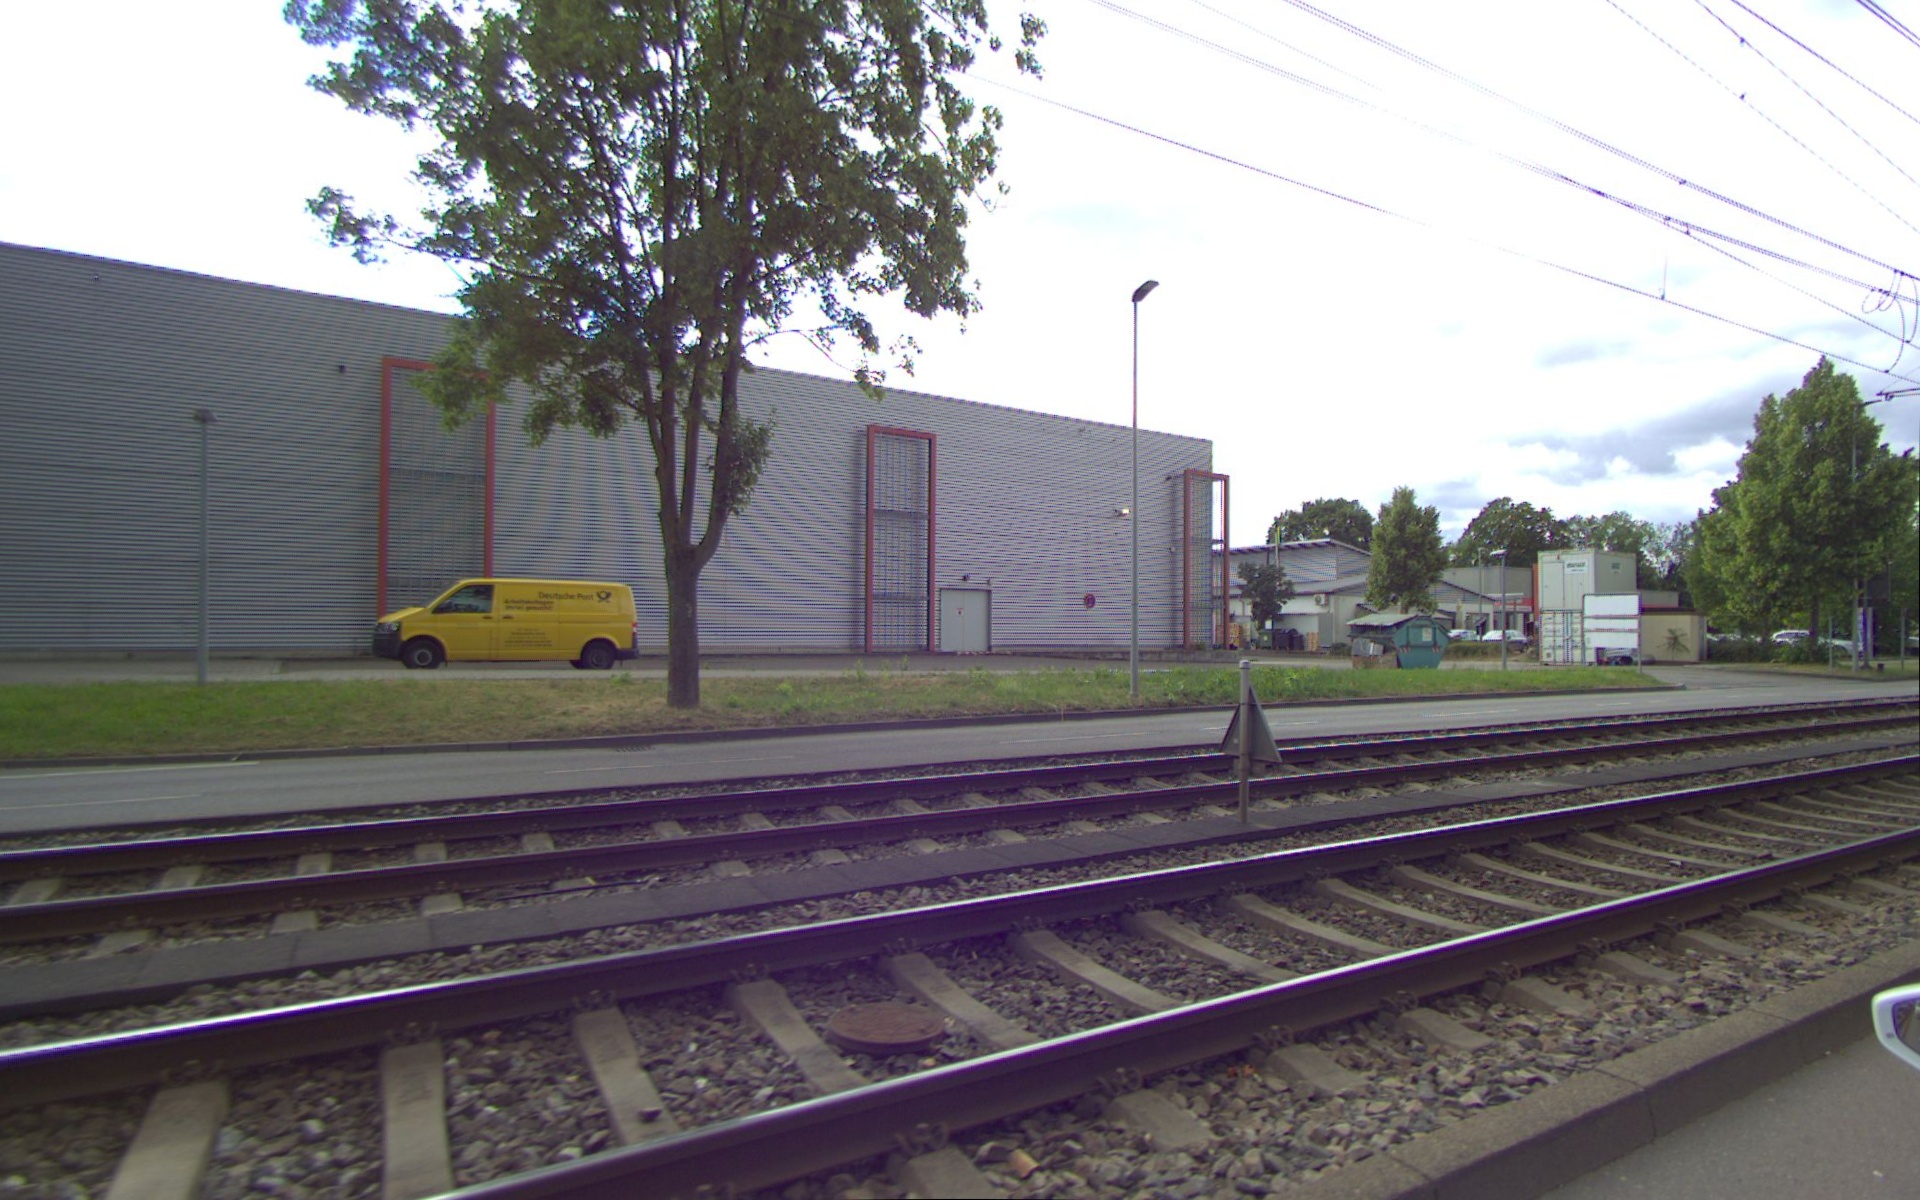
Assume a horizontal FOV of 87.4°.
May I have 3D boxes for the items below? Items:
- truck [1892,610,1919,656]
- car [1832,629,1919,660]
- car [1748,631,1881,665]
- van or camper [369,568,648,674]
[{"bbox_3d":[60.679,2.062,62.160,2.350,2.859,3.965,1,-2,-32],"label":"truck"},{"bbox_3d":[53.030,2.525,57.595,1.973,1.750,4.198,1,-2,-32],"label":"car"},{"bbox_3d":[44.858,2.477,52.853,2.620,1.650,4.761,1,-2,-29],"label":"car"},{"bbox_3d":[-9.611,0.479,21.573,5.188,2.040,2.091,2,-1,-34],"label":"van or camper"}]
